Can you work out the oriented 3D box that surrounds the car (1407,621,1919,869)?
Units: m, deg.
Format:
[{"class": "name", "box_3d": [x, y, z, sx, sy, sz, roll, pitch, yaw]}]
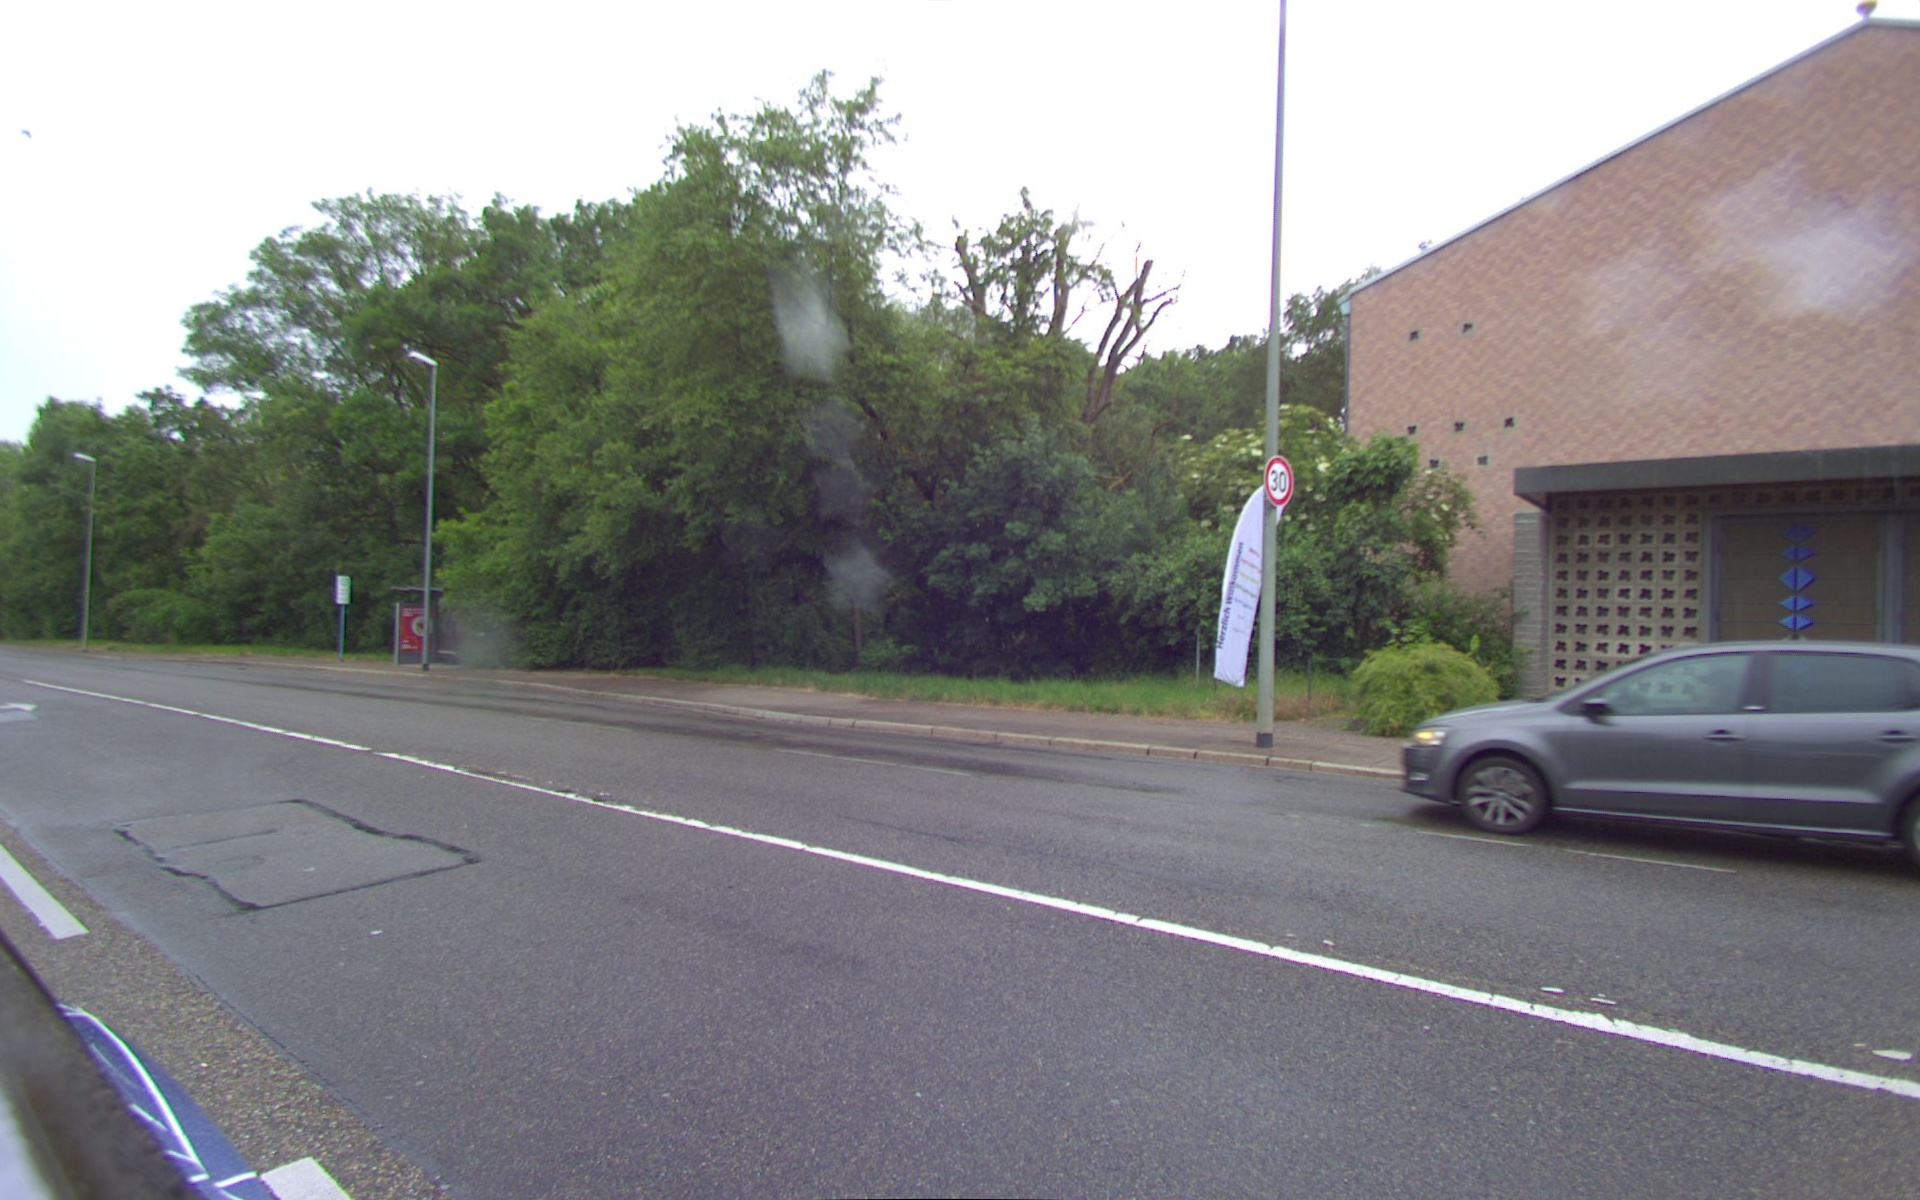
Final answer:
[{"class": "car", "box_3d": [5.402, 0.892, 7.072, 3.901, 1.440, 1.578, -1, -3, 39]}]
